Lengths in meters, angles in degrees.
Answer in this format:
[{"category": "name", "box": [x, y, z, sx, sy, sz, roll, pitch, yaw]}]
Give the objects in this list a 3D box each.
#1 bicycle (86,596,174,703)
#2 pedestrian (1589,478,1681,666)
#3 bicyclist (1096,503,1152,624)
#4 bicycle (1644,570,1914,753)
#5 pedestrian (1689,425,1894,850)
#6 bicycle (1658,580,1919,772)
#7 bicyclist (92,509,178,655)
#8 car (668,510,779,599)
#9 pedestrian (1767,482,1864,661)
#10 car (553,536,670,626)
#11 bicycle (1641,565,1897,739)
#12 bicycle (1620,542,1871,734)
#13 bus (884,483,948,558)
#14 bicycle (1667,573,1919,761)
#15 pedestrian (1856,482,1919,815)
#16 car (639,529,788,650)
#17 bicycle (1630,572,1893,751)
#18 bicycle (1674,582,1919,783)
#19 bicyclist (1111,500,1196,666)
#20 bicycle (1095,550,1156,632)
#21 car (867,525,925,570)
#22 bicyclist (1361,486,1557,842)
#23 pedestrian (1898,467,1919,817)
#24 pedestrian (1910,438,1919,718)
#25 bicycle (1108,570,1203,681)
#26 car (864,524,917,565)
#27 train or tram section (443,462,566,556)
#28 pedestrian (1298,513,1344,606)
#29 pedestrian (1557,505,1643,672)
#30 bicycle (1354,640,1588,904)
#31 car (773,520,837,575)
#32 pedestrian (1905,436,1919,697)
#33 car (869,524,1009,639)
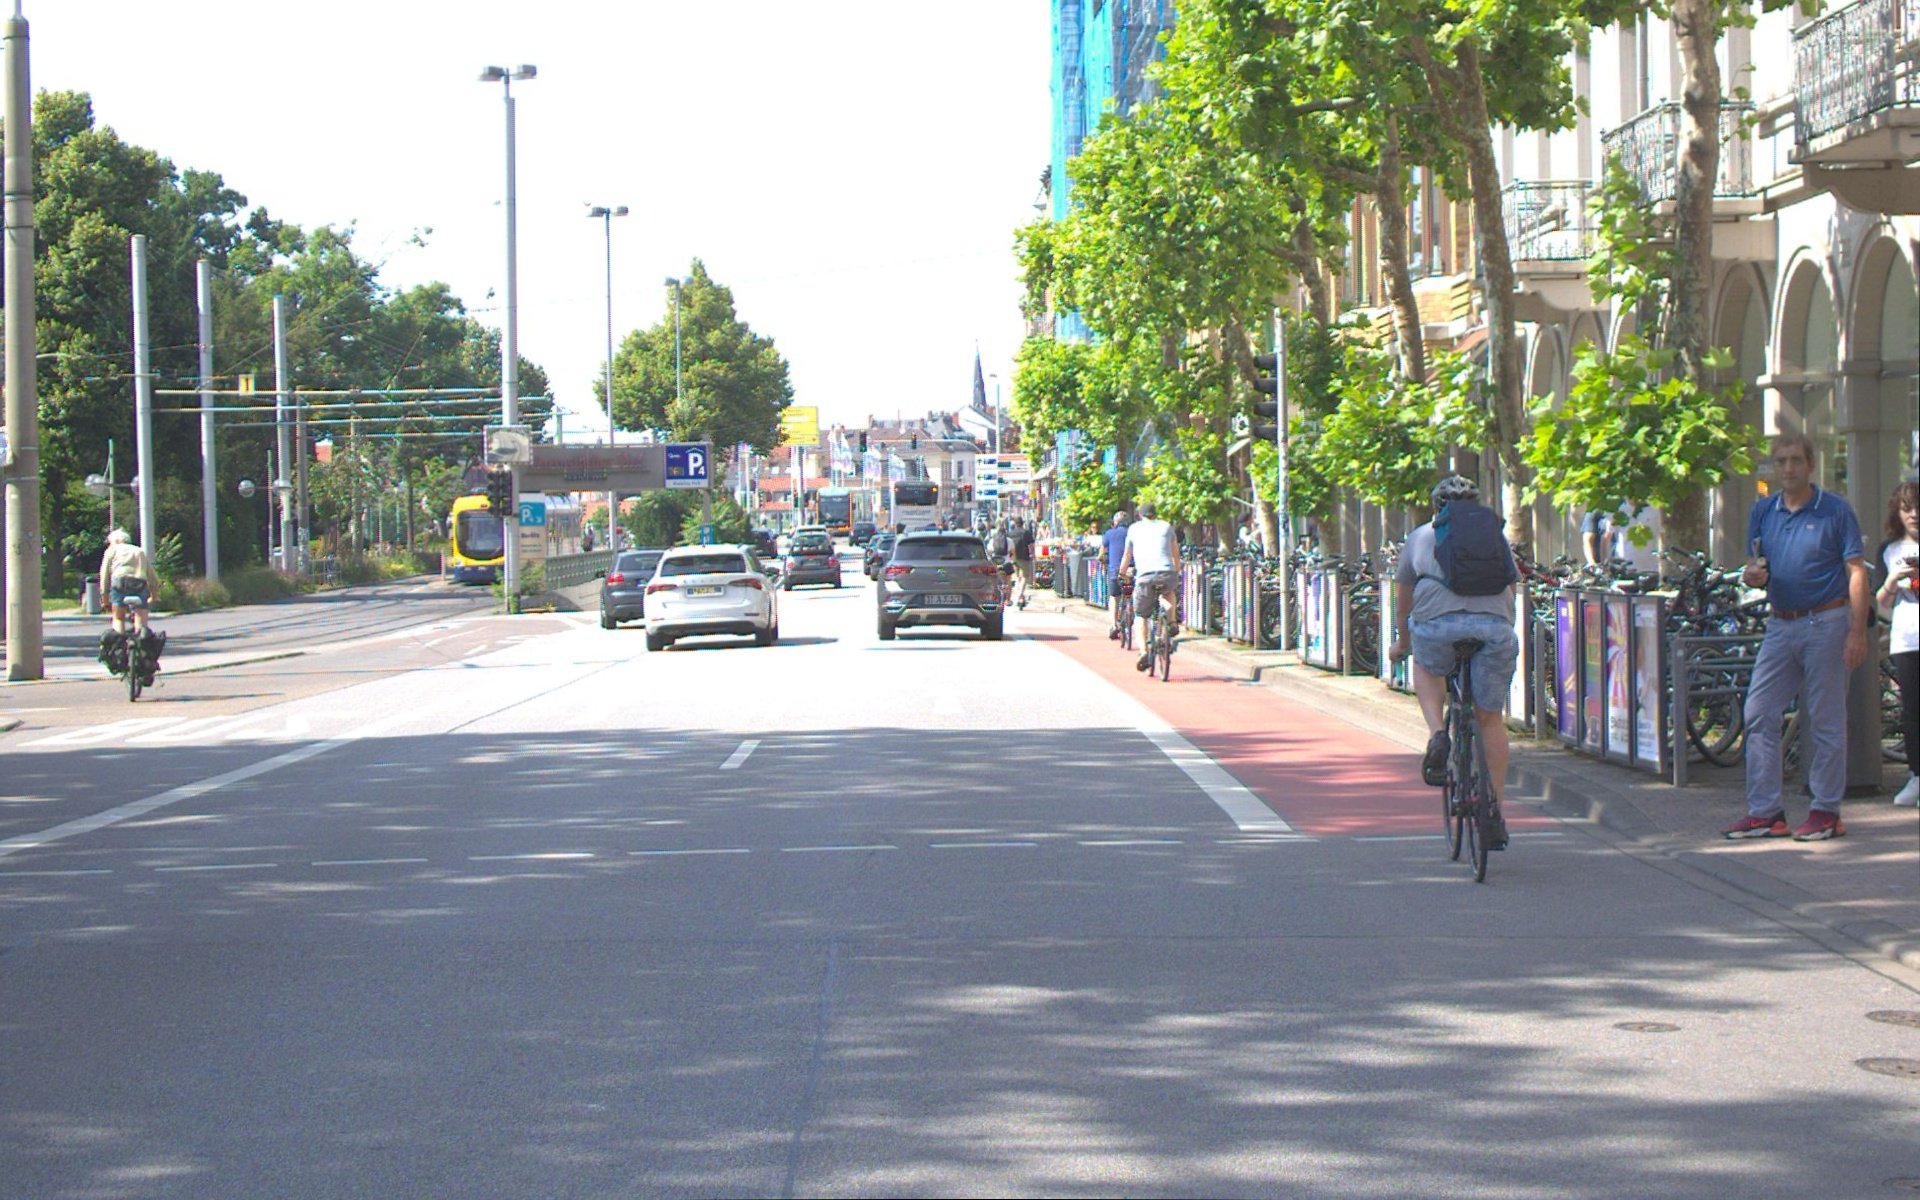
[{"category": "bicycle", "box": [-8.645, 0.499, 35.873, 0.677, 1.022, 1.968, -1, 2, -7]}, {"category": "pedestrian", "box": [6.047, -0.258, 30.816, 0.675, 1.659, 0.612, -1, 1, -2]}, {"category": "bicyclist", "box": [2.115, -0.481, 44.443, 0.647, 1.545, 0.817, -1, 2, -1]}, {"category": "bicycle", "box": [4.692, 0.347, 19.732, 1.420, 0.976, 0.445, -2, 2, 0]}, {"category": "pedestrian", "box": [3.829, 0.166, 15.815, 0.688, 1.891, 0.611, -3, 1, 26]}, {"category": "bicycle", "box": [4.591, 0.411, 18.816, 1.420, 0.976, 0.445, -2, 2, 0]}, {"category": "bicyclist", "box": [-8.672, -0.201, 36.167, 0.738, 1.497, 1.052, -1, 2, -7]}, {"category": "car", "box": [-4.325, -0.862, 63.335, 1.845, 1.554, 4.001, -1, 1, -2]}, {"category": "pedestrian", "box": [7.597, -0.254, 30.534, 0.675, 1.567, 0.612, -1, 1, -2]}, {"category": "car", "box": [-6.373, -0.376, 63.225, 1.845, 1.554, 4.001, -1, 1, -2]}, {"category": "bicycle", "box": [4.855, 0.307, 20.660, 1.420, 0.976, 0.401, -2, 2, 0]}, {"category": "bicycle", "box": [4.809, 0.230, 21.085, 1.420, 1.110, 0.401, -2, 2, 0]}, {"category": "bus", "box": [-2.262, -3.995, 172.916, 2.994, 3.581, 11.746, -1, 1, -2]}, {"category": "bicycle", "box": [4.735, 0.371, 19.277, 1.420, 0.976, 0.445, -2, 2, 0]}, {"category": "pedestrian", "box": [4.751, 0.226, 16.907, 0.531, 1.589, 0.611, 0, 4, 26]}, {"category": "car", "box": [-3.494, -0.185, 49.367, 1.845, 1.554, 4.001, -2, 2, -1]}, {"category": "bicycle", "box": [4.707, 0.357, 20.226, 1.420, 0.976, 0.445, -2, 2, 0]}, {"category": "bicycle", "box": [4.507, 0.425, 17.993, 1.420, 0.976, 0.445, -2, 2, 0]}, {"category": "bicyclist", "box": [1.941, -0.177, 34.548, 0.774, 1.629, 0.851, -1, 2, -1]}, {"category": "bicycle", "box": [2.121, -0.122, 44.262, 0.647, 0.994, 2.031, -1, 2, -1]}, {"category": "car", "box": [-2.134, -1.753, 114.009, 1.845, 1.408, 4.001, -1, 2, -2]}, {"category": "bicyclist", "box": [2.147, 0.254, 14.902, 0.630, 1.476, 1.198, -1, 1, -2]}, {"category": "pedestrian", "box": [4.126, 0.301, 13.525, 0.582, 1.694, 0.605, -4, 1, -2]}, {"category": "pedestrian", "box": [6.444, -0.141, 21.748, 0.675, 1.785, 0.612, -1, 1, -1]}, {"category": "bicycle", "box": [1.952, 0.237, 34.579, 0.774, 1.002, 2.330, -1, 2, -1]}, {"category": "car", "box": [-2.520, -2.015, 124.005, 1.845, 1.408, 4.001, -1, 2, -2]}, {"category": "train or tram section", "box": [-16.922, -3.437, 128.387, 2.613, 3.336, 11.002, 0, 2, 3]}, {"category": "pedestrian", "box": [6.165, -0.695, 58.751, 0.675, 1.567, 0.612, -1, 1, -2]}, {"category": "pedestrian", "box": [6.097, -0.114, 32.763, 0.675, 1.567, 0.612, -1, 1, -2]}, {"category": "bicycle", "box": [2.158, 0.698, 14.749, 0.630, 0.976, 2.089, -1, 1, -2]}, {"category": "car", "box": [-4.640, -1.589, 103.121, 1.845, 1.554, 4.001, -1, 2, -2]}, {"category": "pedestrian", "box": [6.811, -0.230, 23.565, 0.477, 1.785, 0.612, -1, 1, -1]}, {"category": "car", "box": [-0.344, -0.302, 49.877, 1.845, 1.554, 4.001, 0, 2, -3]}]
